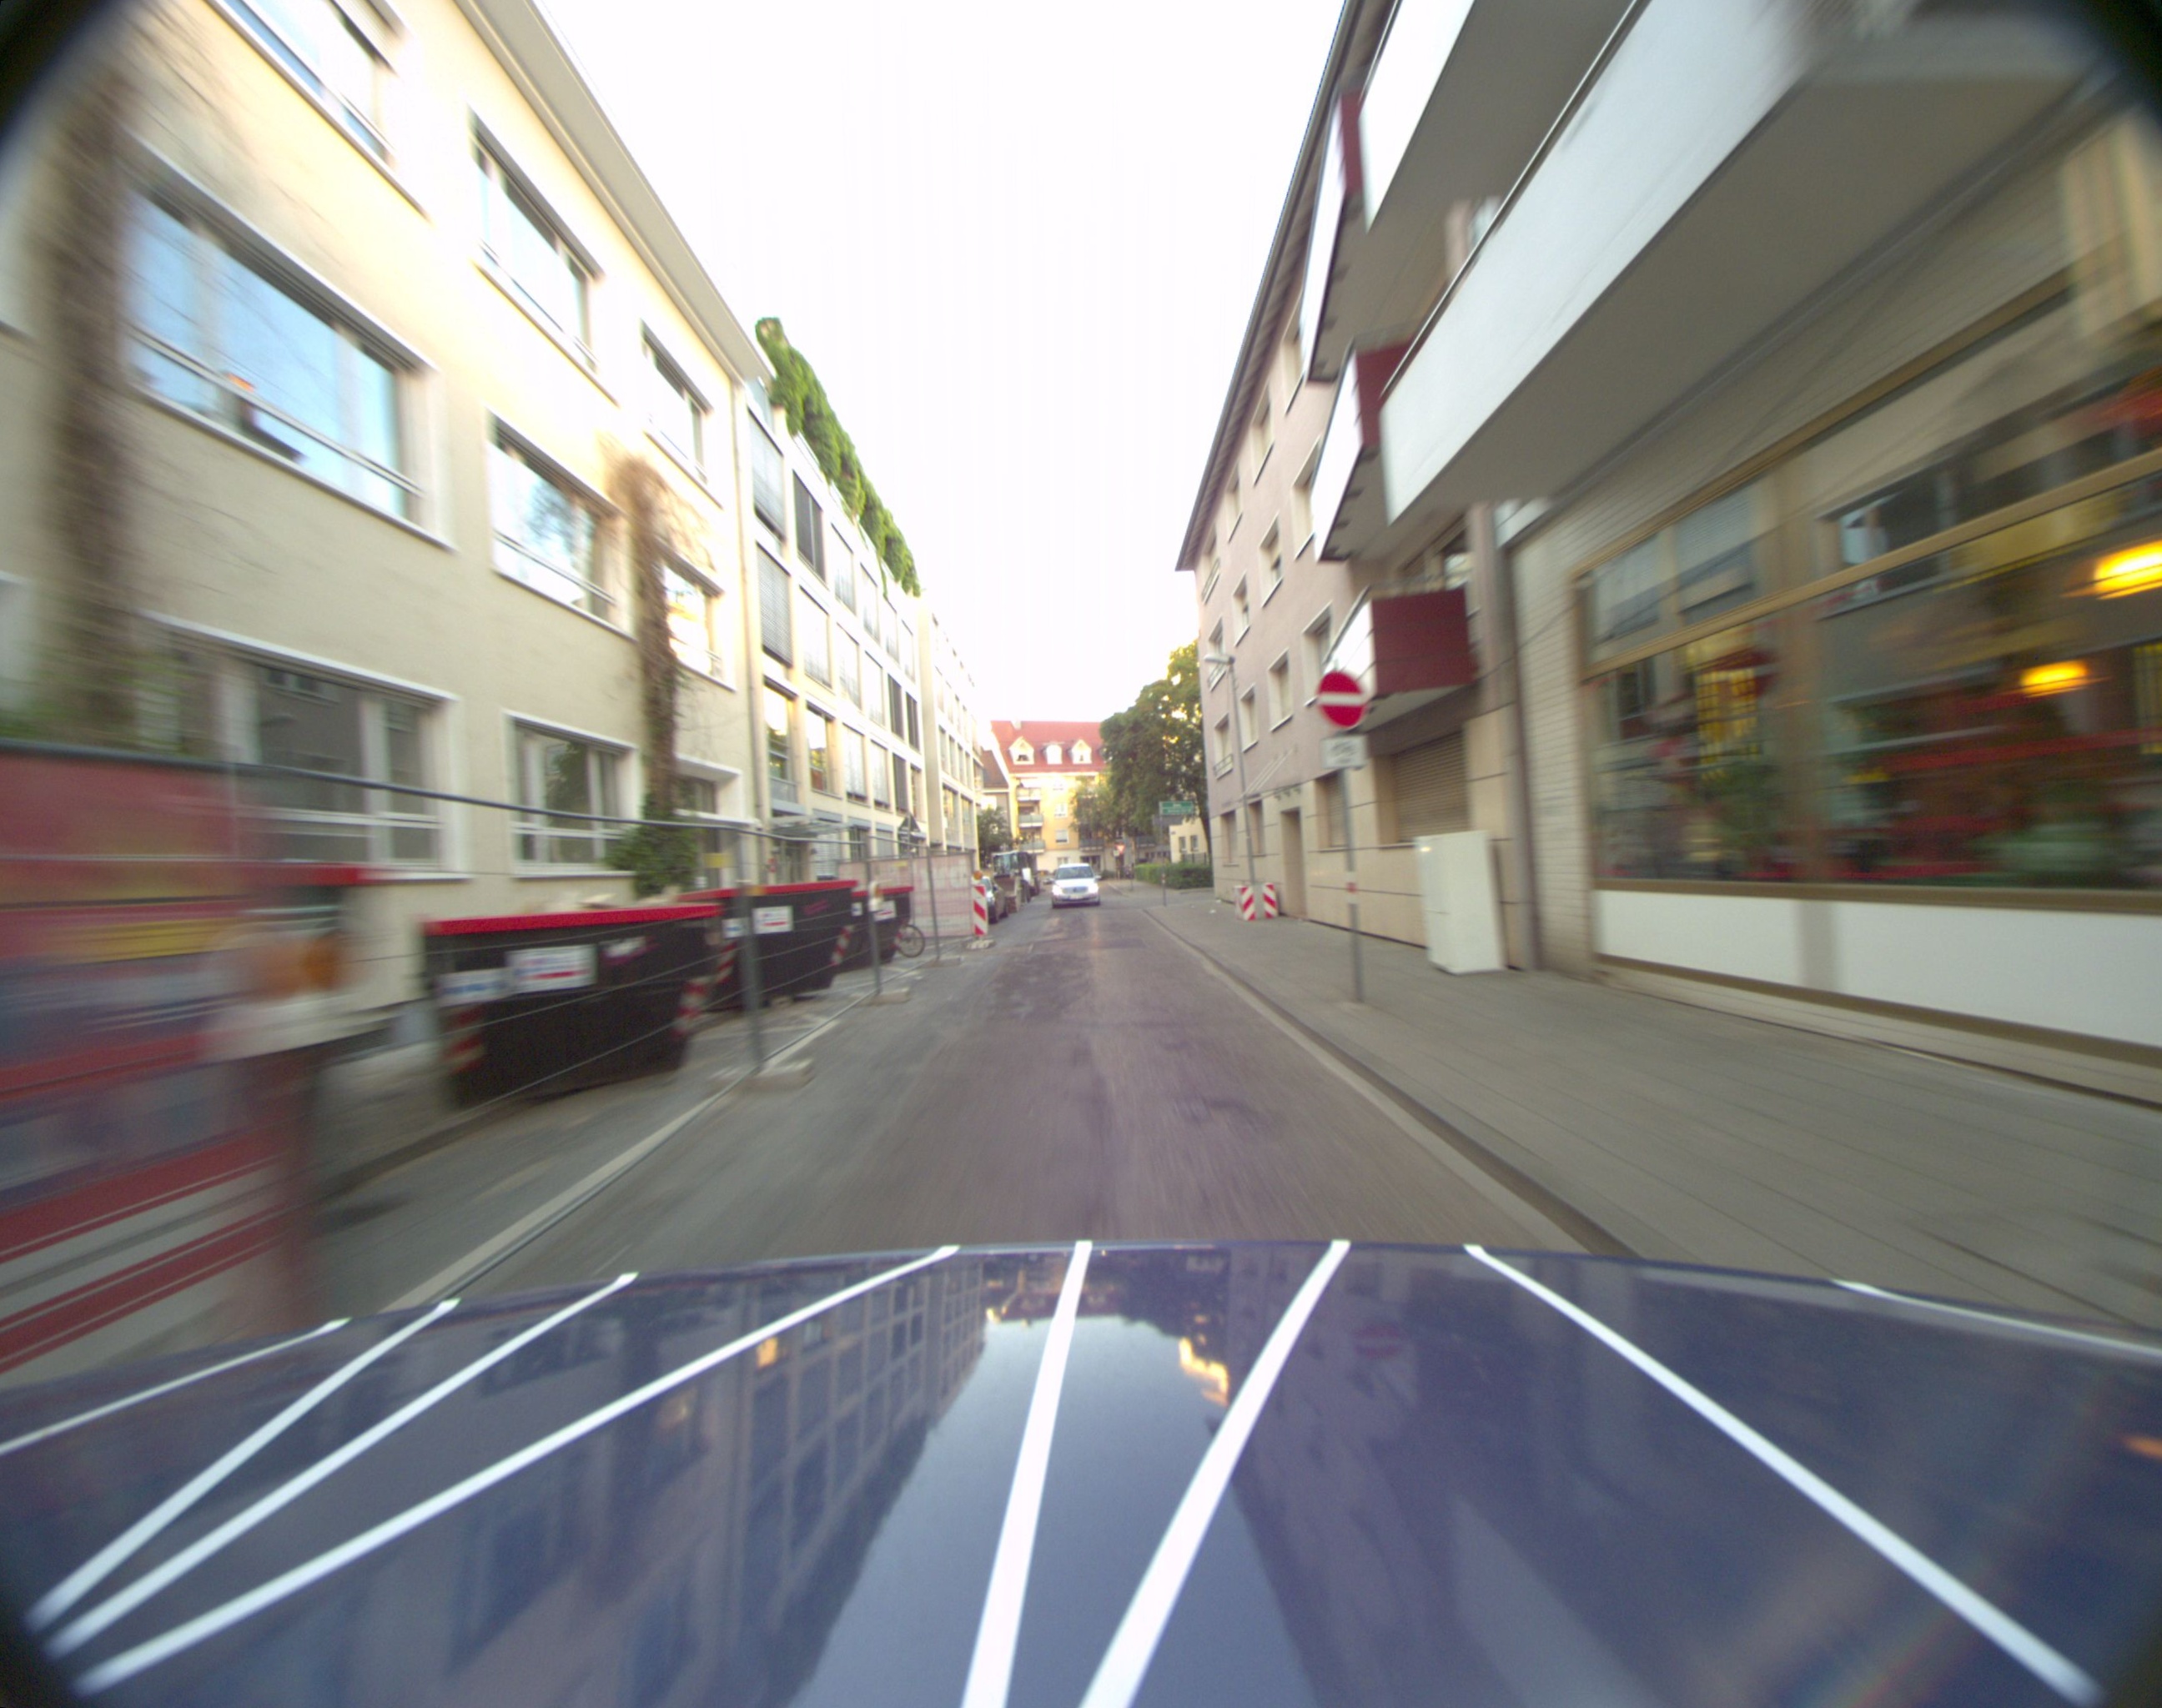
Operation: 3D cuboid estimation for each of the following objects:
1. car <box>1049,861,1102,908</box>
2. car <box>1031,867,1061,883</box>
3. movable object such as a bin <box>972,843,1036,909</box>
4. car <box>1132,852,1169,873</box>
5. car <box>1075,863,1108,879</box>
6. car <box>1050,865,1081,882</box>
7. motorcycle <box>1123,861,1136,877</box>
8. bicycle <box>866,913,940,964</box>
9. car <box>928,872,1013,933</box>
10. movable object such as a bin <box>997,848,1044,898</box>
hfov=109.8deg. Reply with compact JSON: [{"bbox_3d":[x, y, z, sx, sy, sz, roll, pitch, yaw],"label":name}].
[{"bbox_3d":[-0.185,1.151,29.481,1.804,1.607,4.273,-3,-1,0],"label":"car"},{"bbox_3d":[-3.599,2.069,77.165,1.749,1.395,4.238,-3,1,-22],"label":"car"},{"bbox_3d":[-3.396,0.969,34.799,2.021,2.607,5.752,-6,-1,1],"label":"movable object such as a bin"},{"bbox_3d":[7.412,0.871,81.508,2.231,2.065,4.321,-3,1,-22],"label":"car"},{"bbox_3d":[1.066,1.725,79.171,1.829,1.460,4.321,-3,1,-22],"label":"car"},{"bbox_3d":[-1.596,1.984,78.166,1.749,1.494,4.238,-3,1,-22],"label":"car"},{"bbox_3d":[4.378,1.360,68.133,0.858,1.345,1.960,-3,0,9],"label":"motorcycle"},{"bbox_3d":[-3.520,1.647,14.913,1.803,0.903,0.460,-5,-1,44],"label":"bicycle"},{"bbox_3d":[-3.266,1.399,23.319,1.792,1.463,4.446,-6,0,0],"label":"car"},{"bbox_3d":[-3.517,1.081,45.202,2.021,2.608,5.751,-6,0,1],"label":"movable object such as a bin"}]
